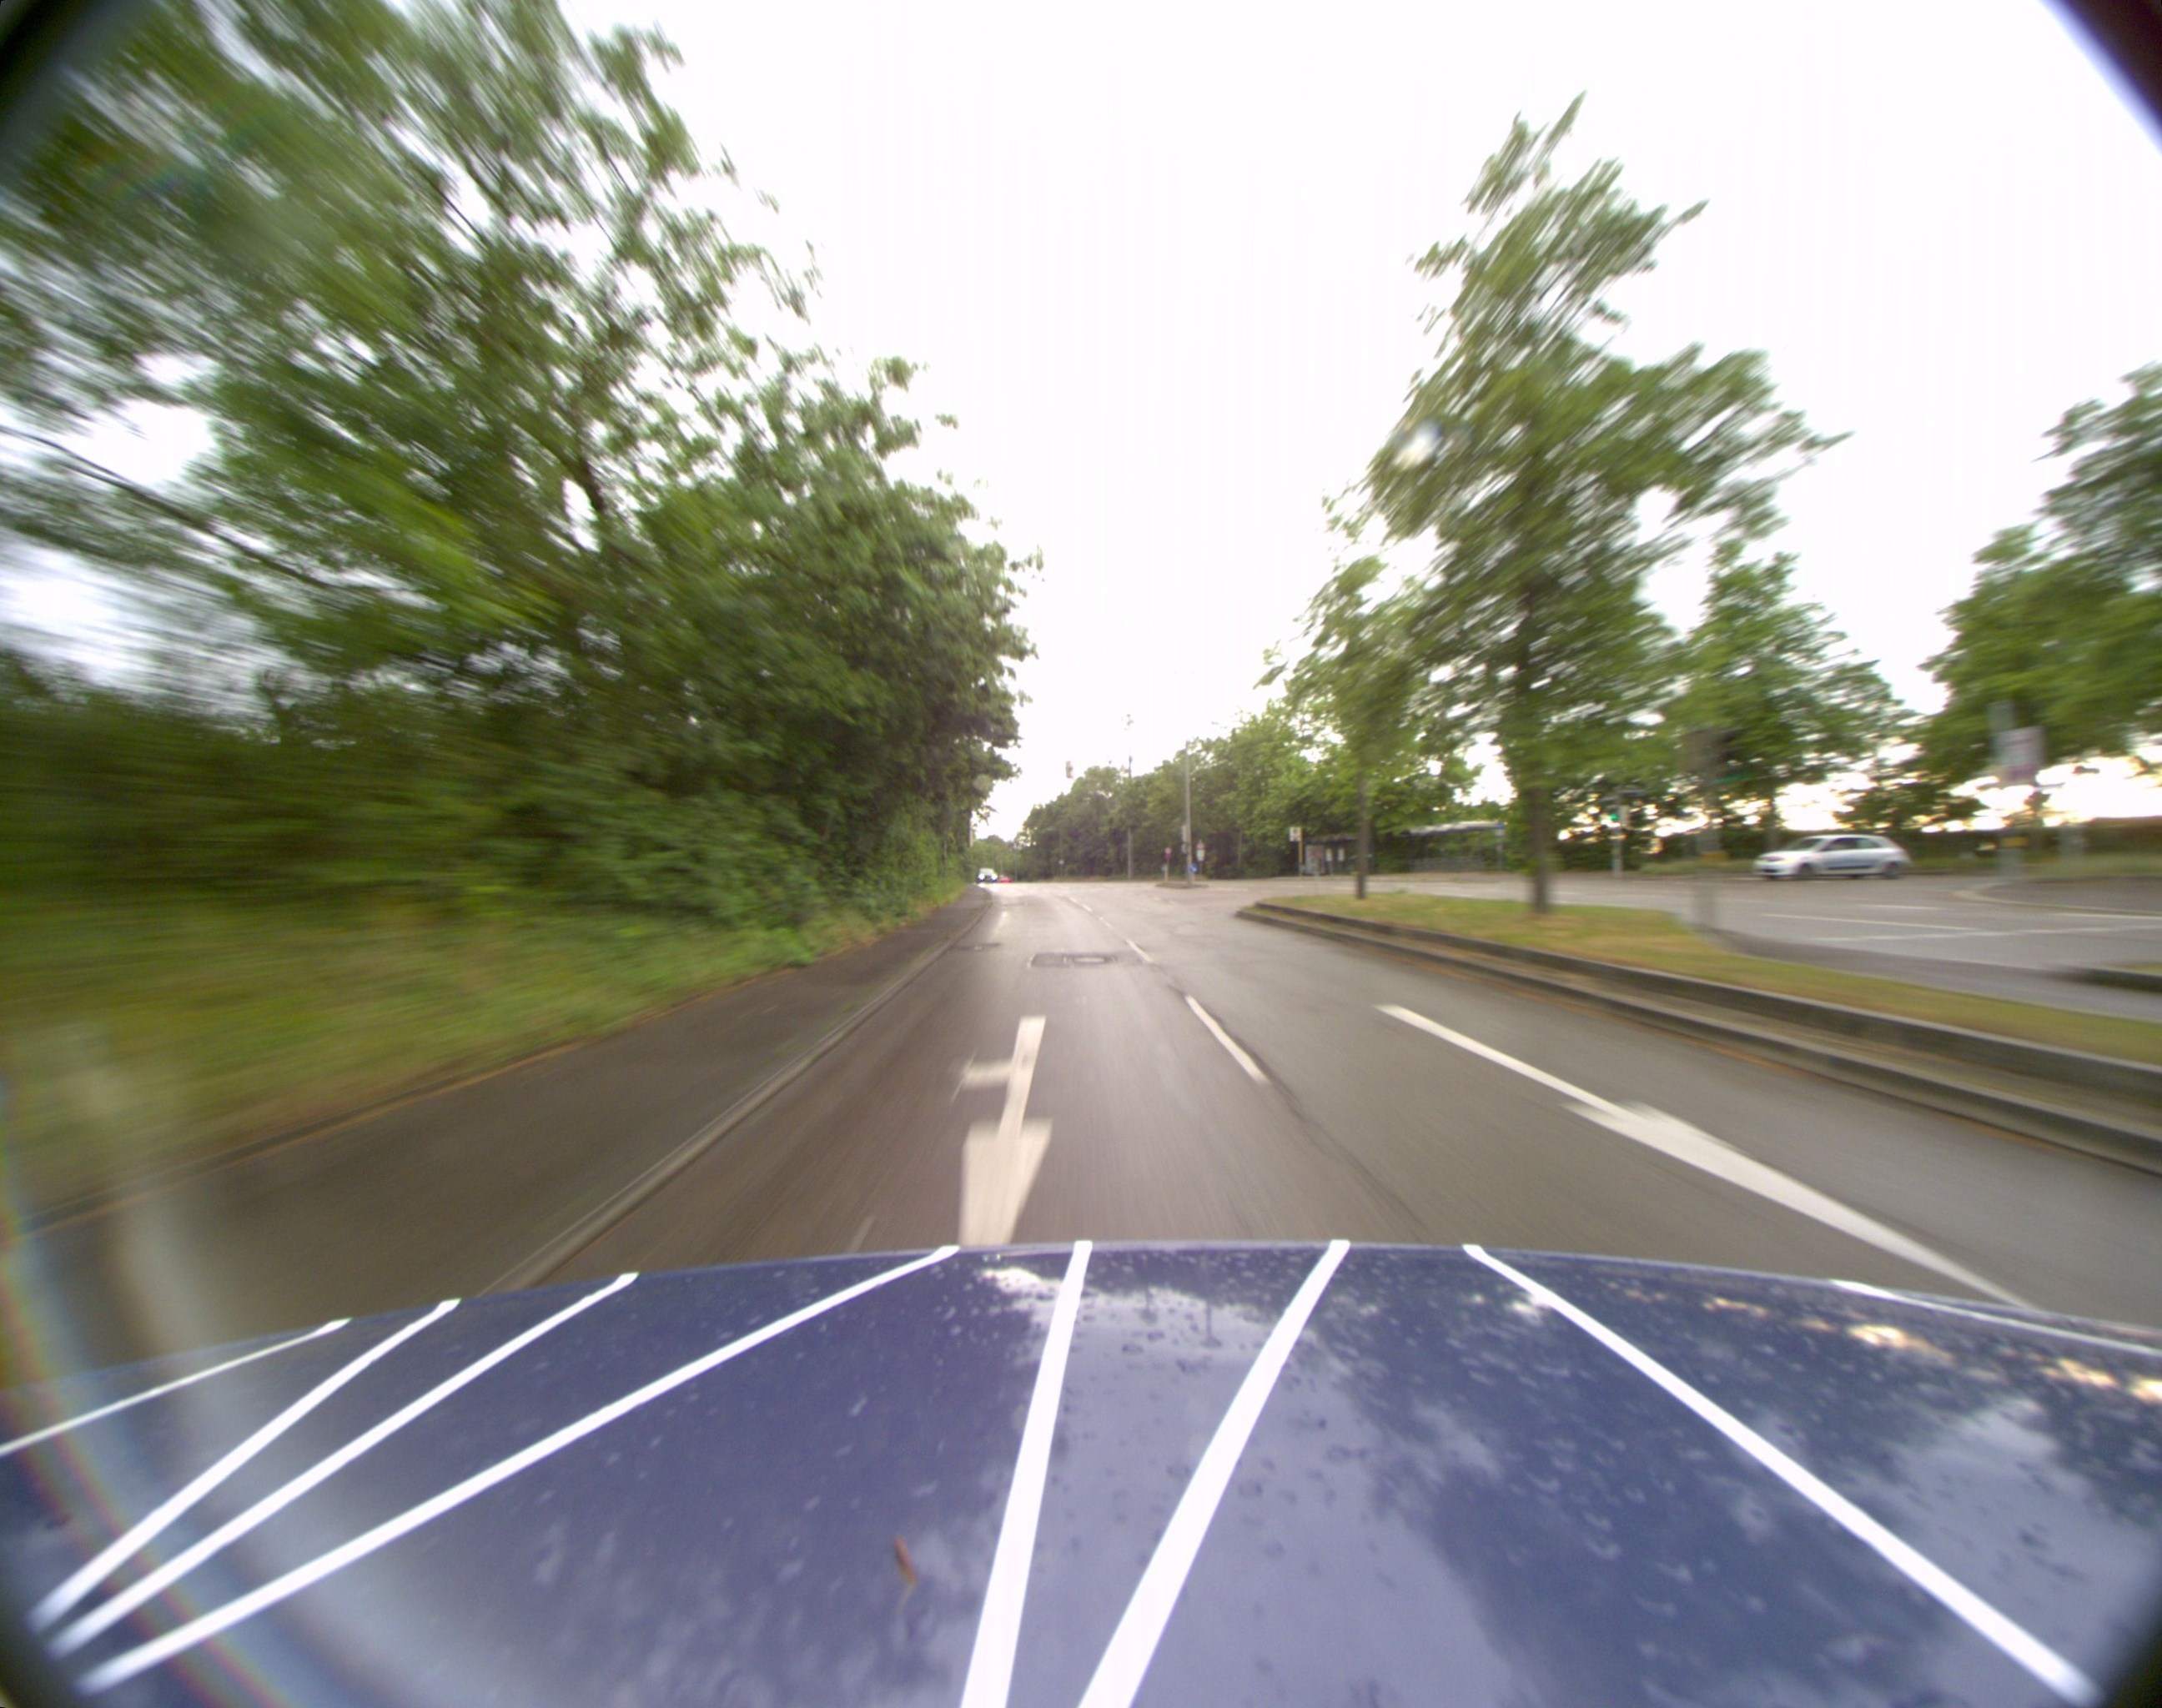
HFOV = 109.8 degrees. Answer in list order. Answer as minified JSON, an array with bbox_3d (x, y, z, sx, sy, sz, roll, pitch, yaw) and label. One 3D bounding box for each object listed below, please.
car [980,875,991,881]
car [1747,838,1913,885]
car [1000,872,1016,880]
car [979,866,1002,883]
[{"bbox_3d":[-19.972,5.030,158.991,1.637,1.386,3.995,0,-2,-17],"label":"car"},{"bbox_3d":[25.663,0.253,26.181,3.691,1.470,1.763,-2,1,12],"label":"car"},{"bbox_3d":[-12.047,3.640,125.007,1.883,1.365,4.379,0,-2,-17],"label":"car"},{"bbox_3d":[-8.623,1.952,72.227,2.000,1.576,3.998,1,-2,-8],"label":"car"}]
